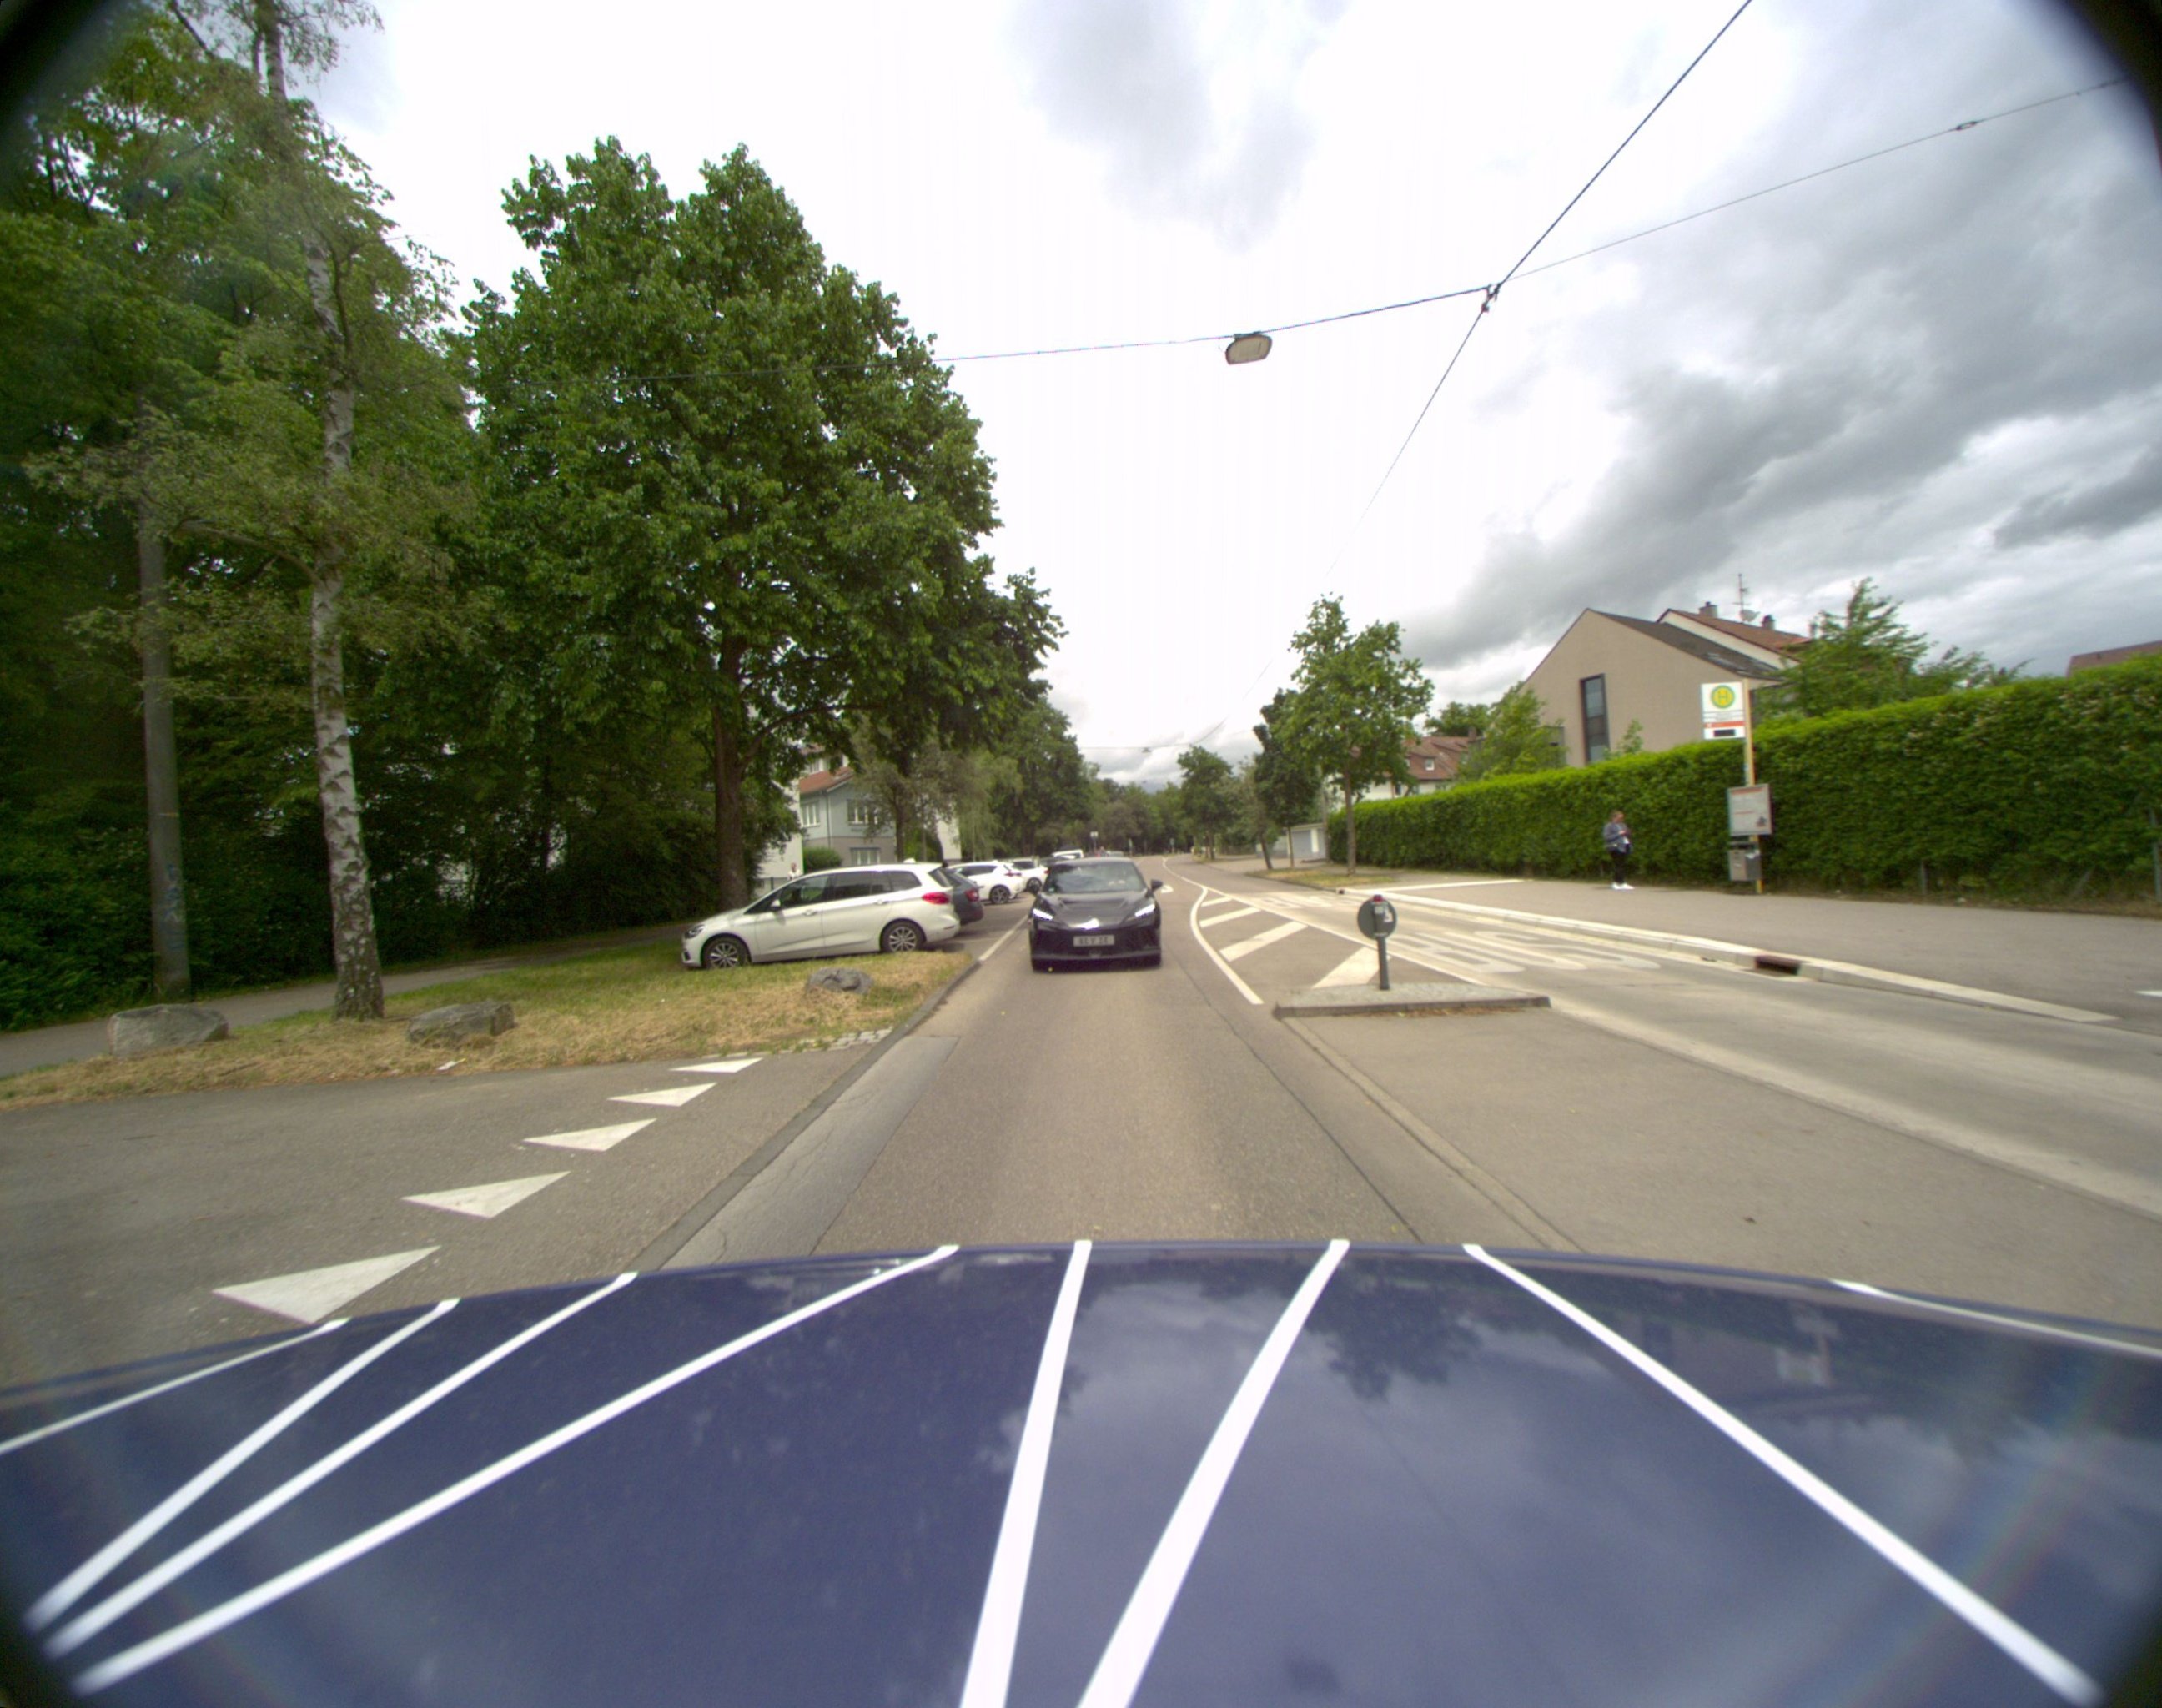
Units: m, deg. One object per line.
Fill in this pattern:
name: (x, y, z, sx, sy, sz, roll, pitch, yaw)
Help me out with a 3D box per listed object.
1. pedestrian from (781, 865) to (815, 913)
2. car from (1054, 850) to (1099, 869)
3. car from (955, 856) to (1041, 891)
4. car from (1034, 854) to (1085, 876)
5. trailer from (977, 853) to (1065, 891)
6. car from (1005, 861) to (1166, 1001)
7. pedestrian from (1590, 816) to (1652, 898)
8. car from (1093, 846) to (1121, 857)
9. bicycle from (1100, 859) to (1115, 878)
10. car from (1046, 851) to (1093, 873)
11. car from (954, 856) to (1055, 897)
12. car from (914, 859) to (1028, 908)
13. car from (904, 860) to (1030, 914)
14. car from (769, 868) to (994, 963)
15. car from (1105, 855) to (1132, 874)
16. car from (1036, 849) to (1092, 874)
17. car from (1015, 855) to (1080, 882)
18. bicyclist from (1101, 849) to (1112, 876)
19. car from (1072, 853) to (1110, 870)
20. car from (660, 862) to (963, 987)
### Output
pedestrian: (-10.030, 1.247, 26.950, 0.692, 1.634, 0.779, -3, 1, 24)
car: (-0.439, 0.537, 69.545, 3.857, 1.426, 1.654, -4, 1, -9)
car: (-4.267, 0.980, 39.128, 4.003, 1.455, 1.788, -5, 1, -20)
car: (-1.735, 0.846, 60.531, 3.857, 1.430, 1.714, -4, 1, -9)
trailer: (-2.943, 0.843, 36.951, 4.001, 1.543, 1.657, -3, 1, -13)
car: (0.204, 0.924, 10.772, 1.812, 1.484, 3.794, -3, 1, 5)
pedestrian: (11.626, 0.058, 16.391, 0.693, 1.701, 0.778, -3, 1, -4)
car: (3.785, -0.397, 112.013, 3.855, 1.379, 1.654, -4, 1, -2)
bicycle: (1.761, 0.961, 50.716, 0.648, 1.230, 1.876, -3, 1, -5)
car: (-1.044, 0.659, 66.773, 3.857, 1.634, 1.851, -4, 1, -9)
car: (-3.420, 0.976, 33.911, 4.003, 1.455, 1.847, -5, 1, -23)
car: (-4.152, 1.054, 28.423, 4.001, 1.455, 1.794, -4, 1, -13)
car: (-3.927, 1.070, 25.893, 4.001, 1.455, 1.864, -4, 1, -13)
car: (-4.036, 1.179, 15.711, 4.147, 1.455, 1.796, -4, 1, -14)
car: (3.092, 0.801, 62.058, 1.860, 1.366, 4.077, -3, 0, 6)
car: (-1.411, 0.646, 63.747, 4.225, 1.748, 1.856, -5, 1, -19)
car: (-2.224, 0.951, 50.130, 3.858, 1.426, 1.713, -5, 2, -19)
bicyclist: (1.712, 0.556, 51.038, 0.647, 1.769, 0.627, -3, 2, -6)
car: (1.143, 0.860, 87.047, 3.859, 1.603, 1.653, -4, 1, -14)
car: (-4.376, 1.113, 13.038, 4.482, 1.576, 1.905, -4, 1, -7)
